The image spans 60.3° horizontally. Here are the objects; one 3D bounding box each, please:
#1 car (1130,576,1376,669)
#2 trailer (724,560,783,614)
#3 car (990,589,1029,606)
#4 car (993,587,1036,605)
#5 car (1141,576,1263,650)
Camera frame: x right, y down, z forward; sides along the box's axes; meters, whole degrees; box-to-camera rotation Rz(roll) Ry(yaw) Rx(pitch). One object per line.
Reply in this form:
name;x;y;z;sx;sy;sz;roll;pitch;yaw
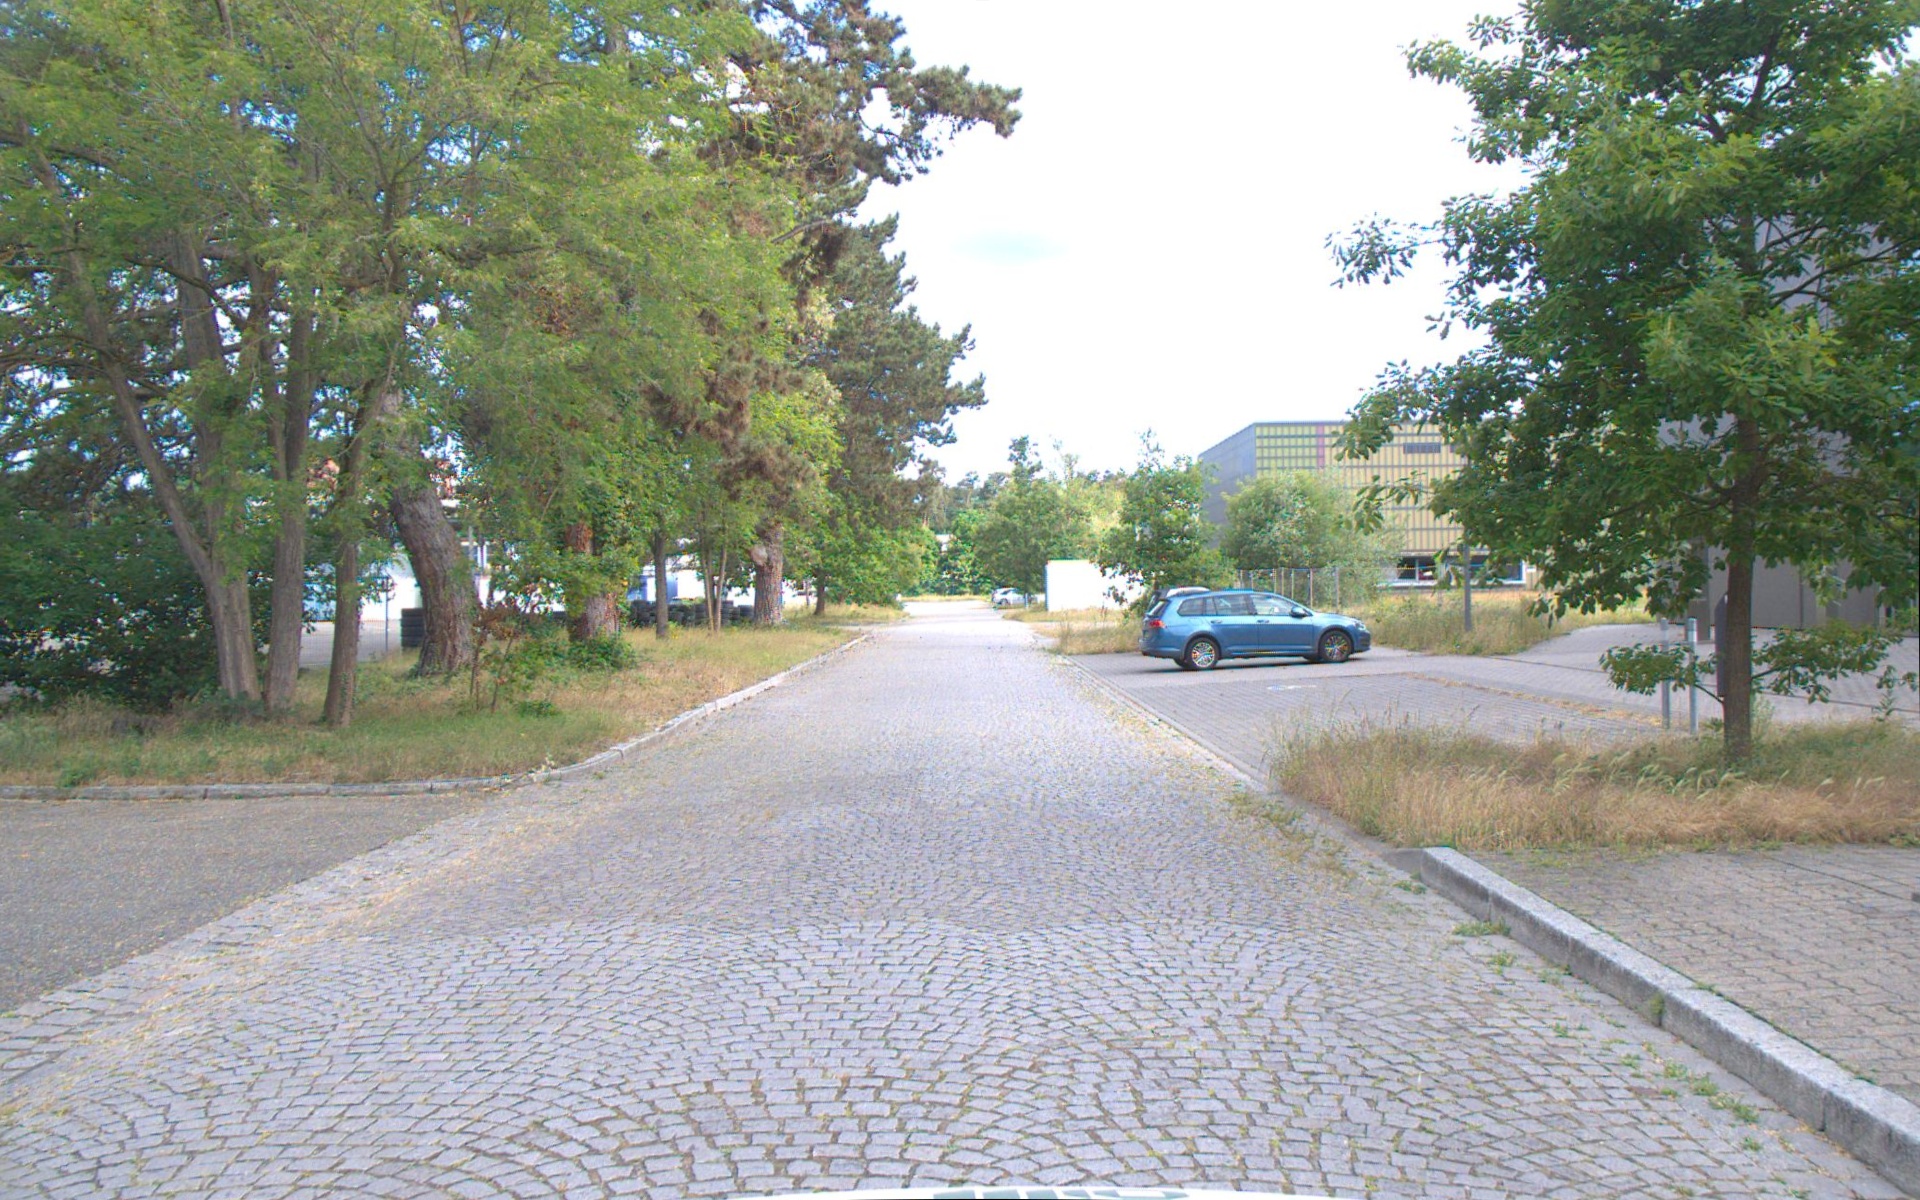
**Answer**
car;5.679;0.427;32.405;4.401;1.501;1.829;-4;0;-3
trailer;-14.816;-0.910;119.211;2.571;3.661;10.180;-1;0;2
car;4.465;-0.216;149.529;3.450;1.386;1.622;-3;0;0
car;4.990;-0.348;152.225;3.903;1.473;1.653;-3;0;0
car;5.815;0.307;39.906;2.654;1.583;1.654;-3;0;1
